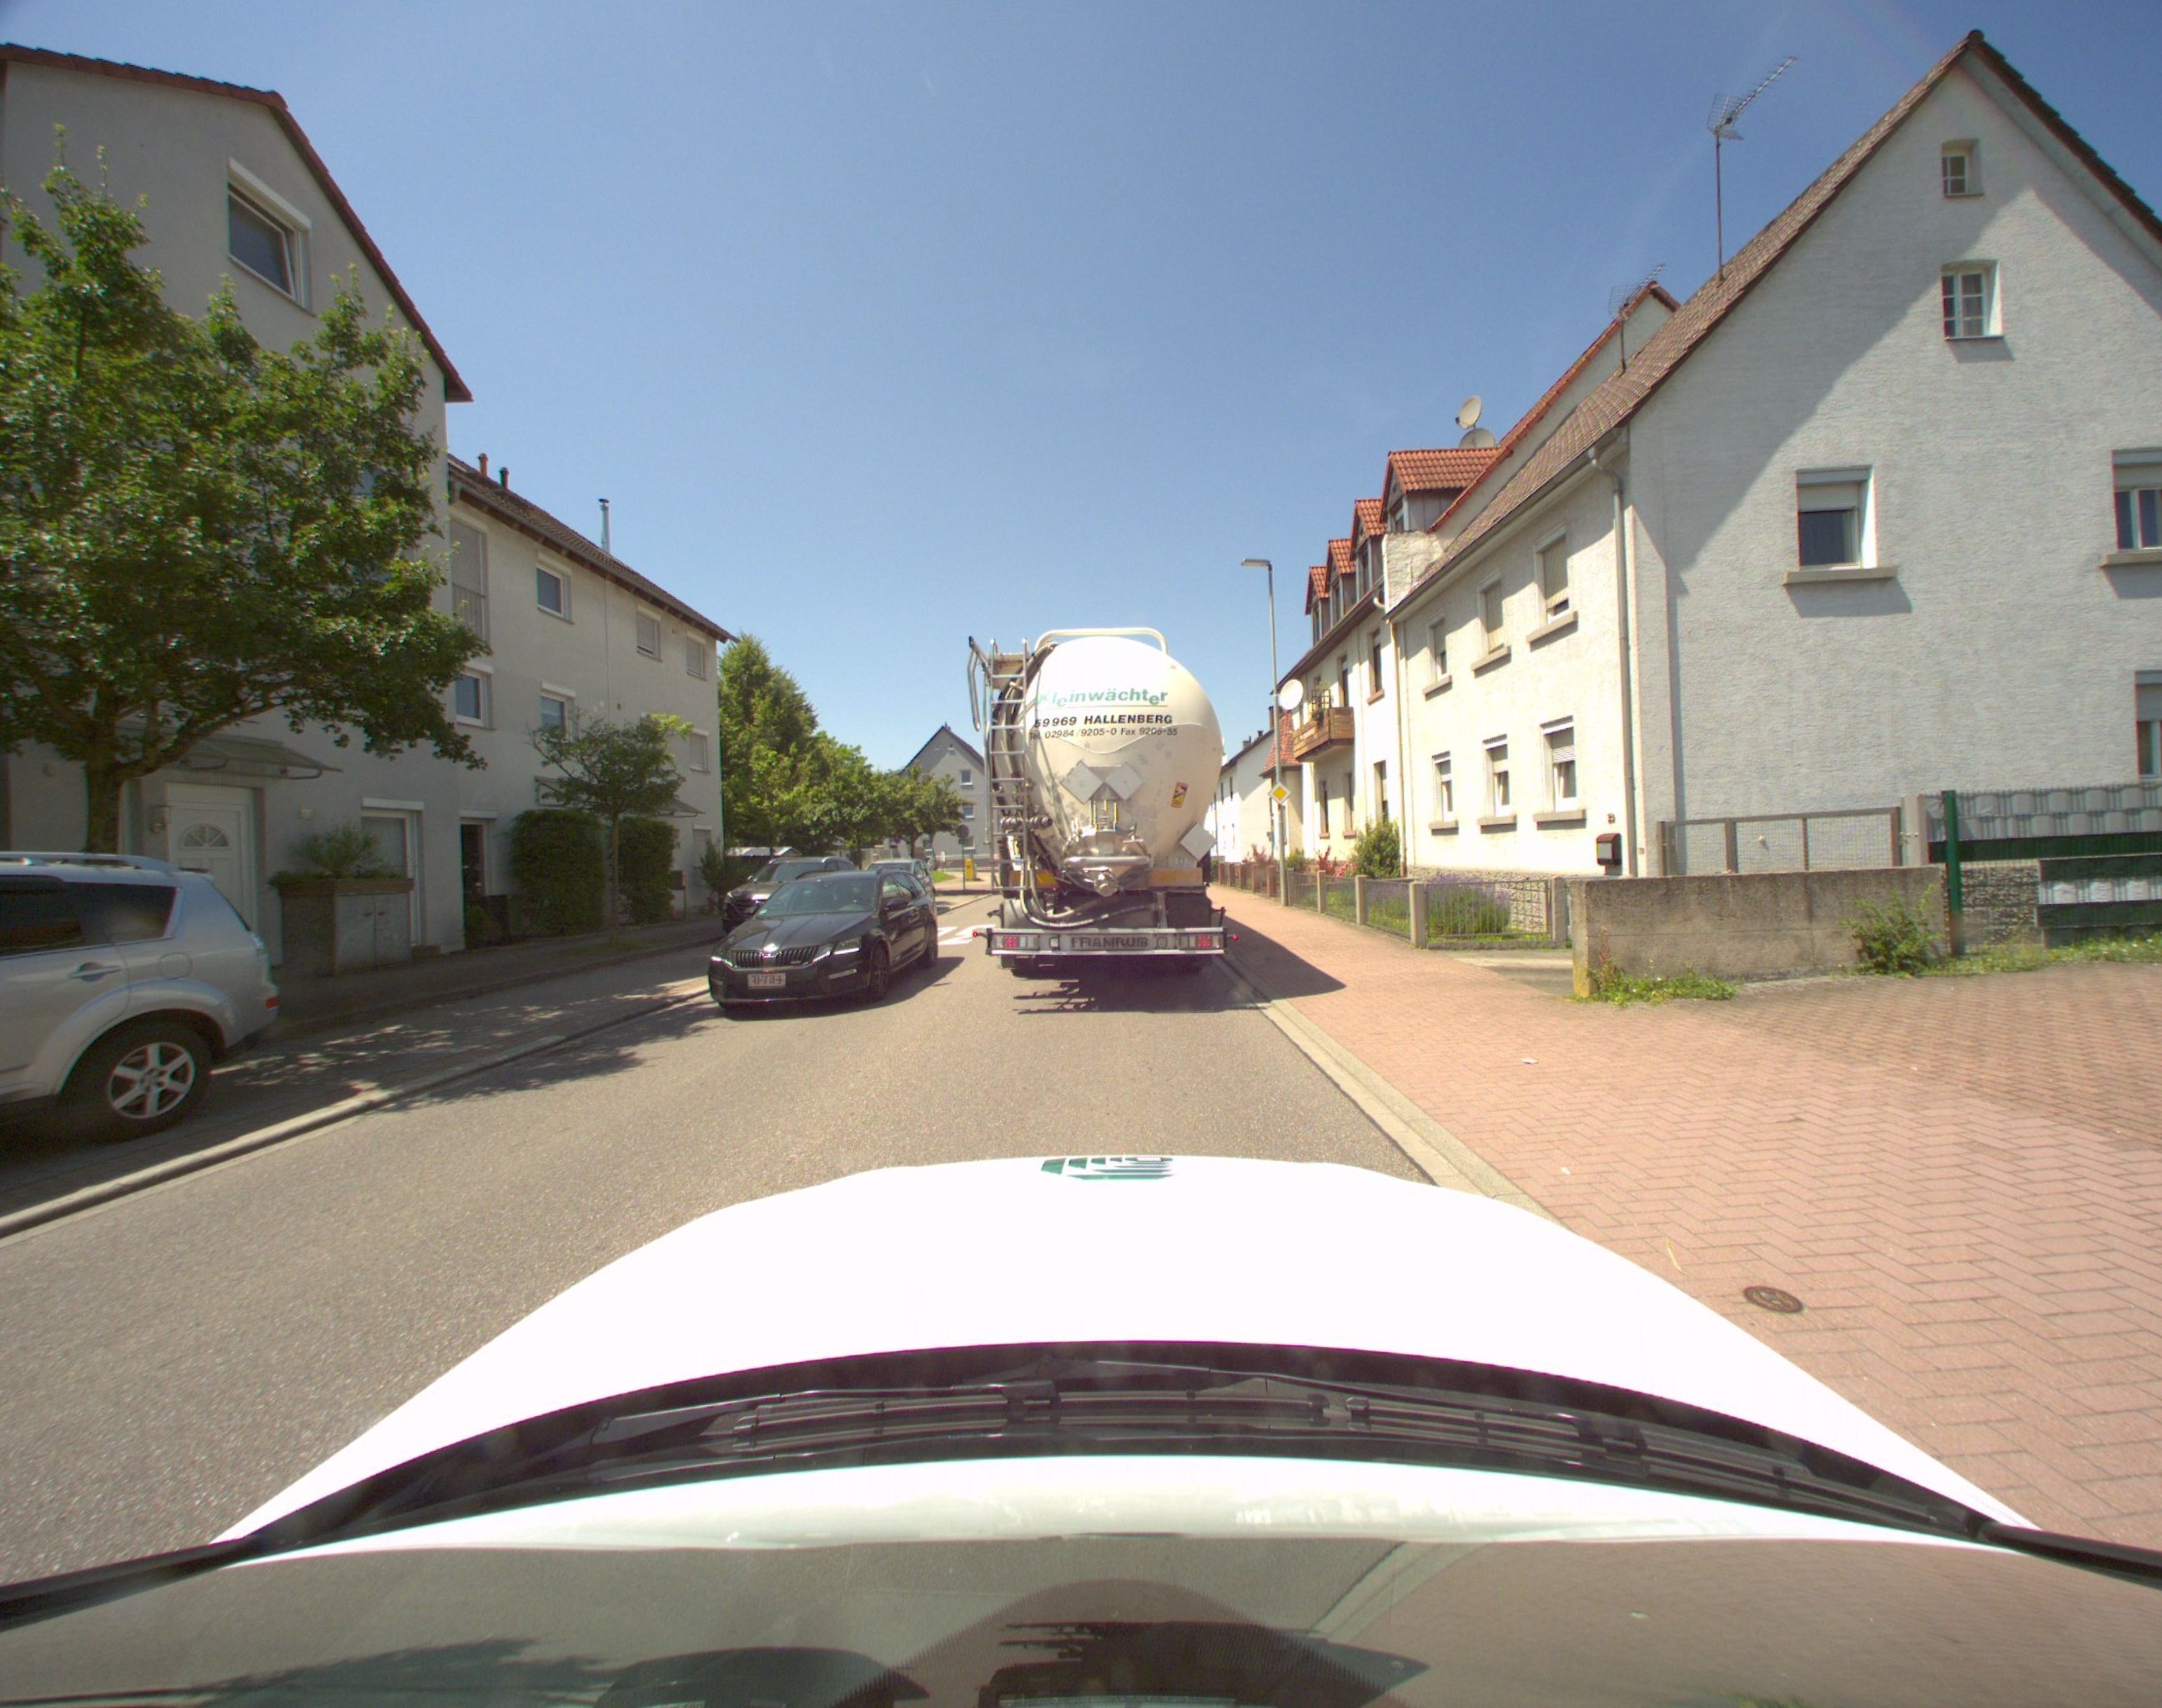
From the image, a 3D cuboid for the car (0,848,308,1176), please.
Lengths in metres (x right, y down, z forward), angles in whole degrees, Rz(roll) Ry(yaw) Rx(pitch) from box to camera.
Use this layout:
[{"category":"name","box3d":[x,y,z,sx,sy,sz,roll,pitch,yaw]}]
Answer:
[{"category":"car","box3d":[-6.429,0.831,3.565,1.700,1.686,4.526,-1,0,1]}]

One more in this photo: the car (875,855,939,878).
[{"category":"car","box3d":[-13.982,0.990,65.467,4.597,1.651,1.745,-2,0,9]}]

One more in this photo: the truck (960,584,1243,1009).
[{"category":"truck","box3d":[0.368,-0.551,12.587,2.631,4.016,9.566,-1,0,2]}]

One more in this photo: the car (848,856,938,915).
[{"category":"car","box3d":[-5.480,0.879,24.231,1.691,1.581,3.838,-1,0,1]}]

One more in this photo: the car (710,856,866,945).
[{"category":"car","box3d":[-5.994,0.870,17.177,1.685,1.620,3.999,-1,0,2]}]

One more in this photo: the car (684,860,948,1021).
[{"category":"car","box3d":[-2.992,0.882,10.240,1.712,1.446,4.257,-4,0,2]}]
